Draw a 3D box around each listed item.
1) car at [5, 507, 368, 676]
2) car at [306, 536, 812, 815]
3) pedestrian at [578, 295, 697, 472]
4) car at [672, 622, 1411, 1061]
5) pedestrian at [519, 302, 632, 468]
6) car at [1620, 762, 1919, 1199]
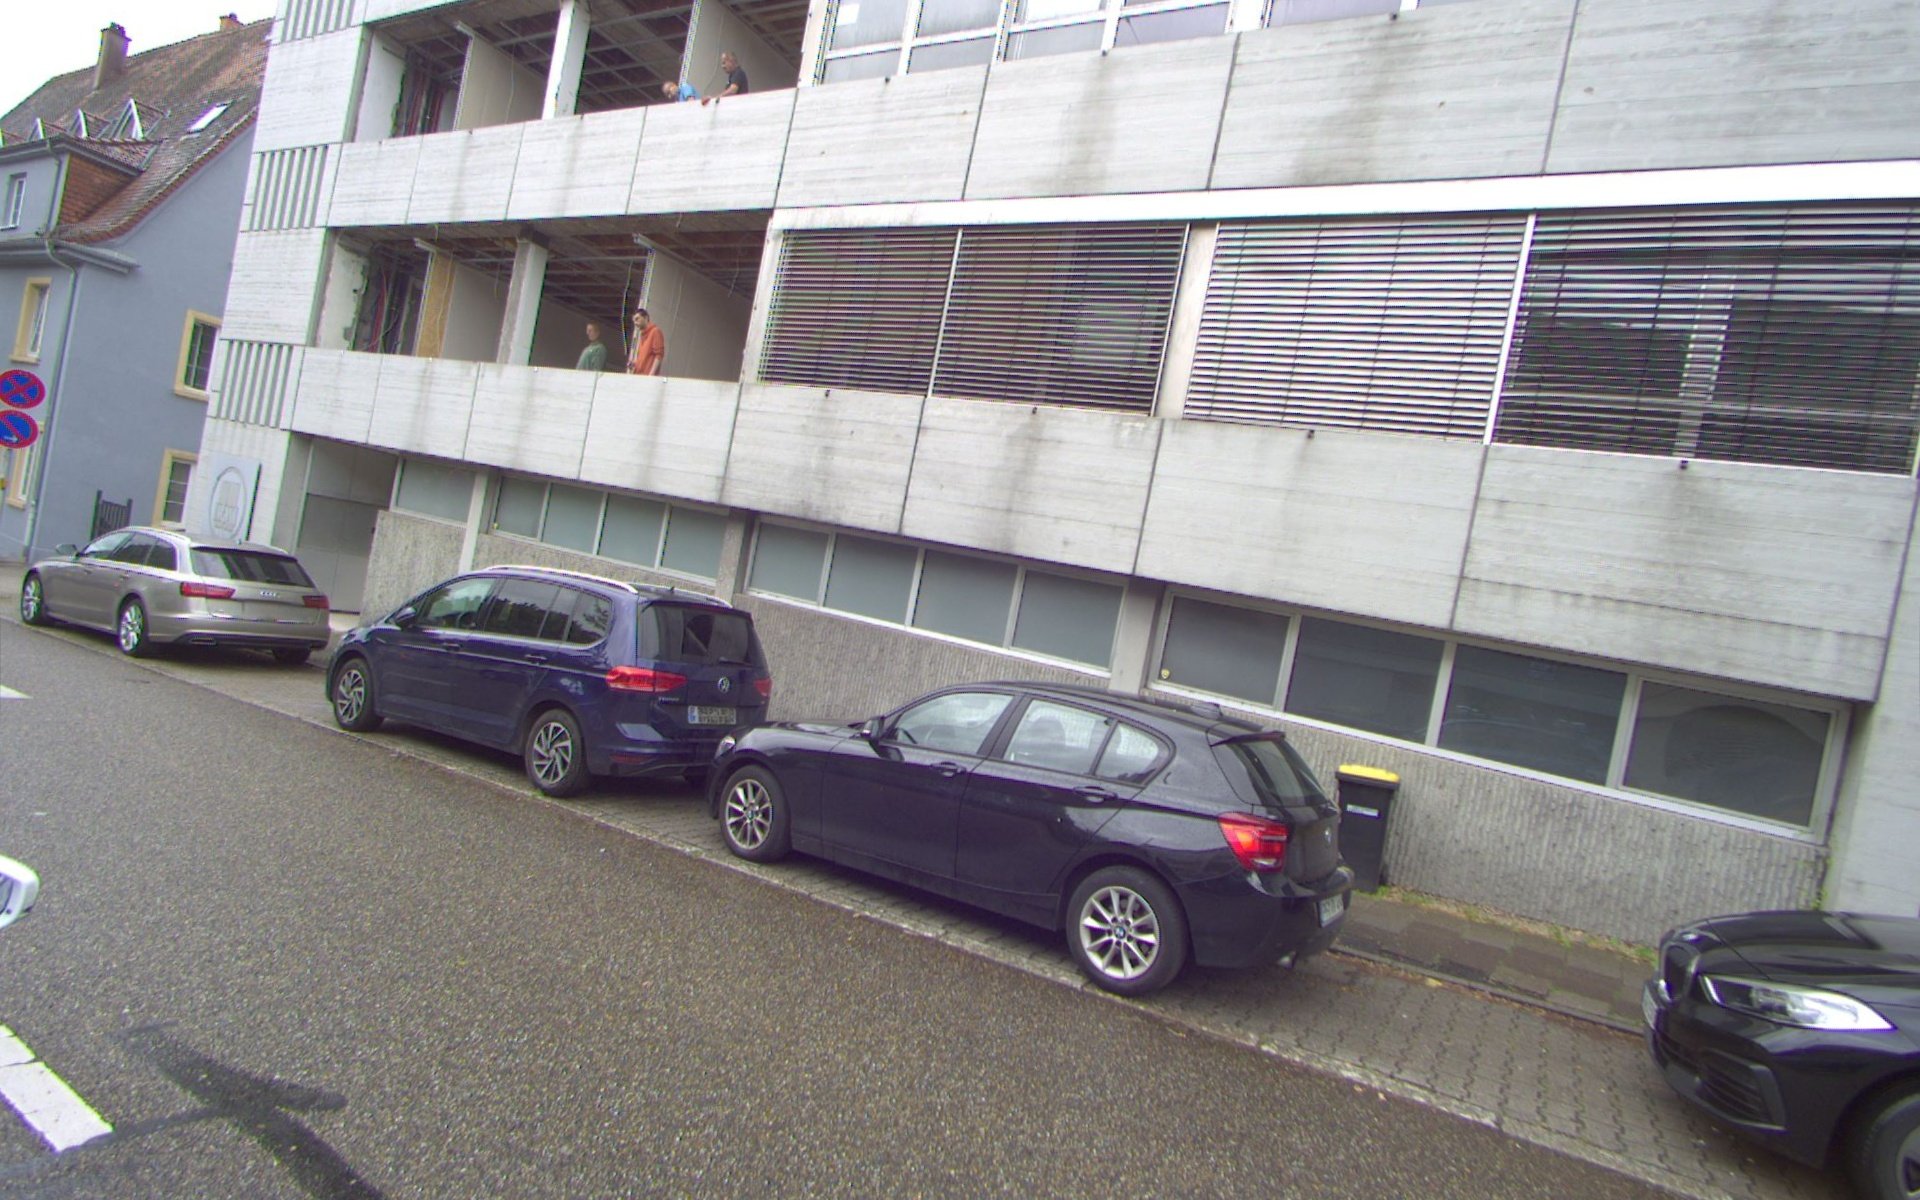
[{"bbox_3d":[-9.794,-0.128,12.677,4.449,1.465,1.966,7,-1,30],"label":"car"},{"bbox_3d":[-3.516,0.531,8.654,4.090,1.618,1.732,7,-1,30],"label":"car"},{"bbox_3d":[-4.209,-2.798,13.172,0.847,2.036,0.909,6,-2,31],"label":"pedestrian"},{"bbox_3d":[0.345,1.167,6.314,4.183,1.465,1.750,7,-1,34],"label":"car"},{"bbox_3d":[-5.342,-2.954,14.017,0.847,2.036,0.909,6,-2,31],"label":"pedestrian"},{"bbox_3d":[5.099,1.764,3.537,4.367,1.452,1.997,7,0,30],"label":"car"}]
